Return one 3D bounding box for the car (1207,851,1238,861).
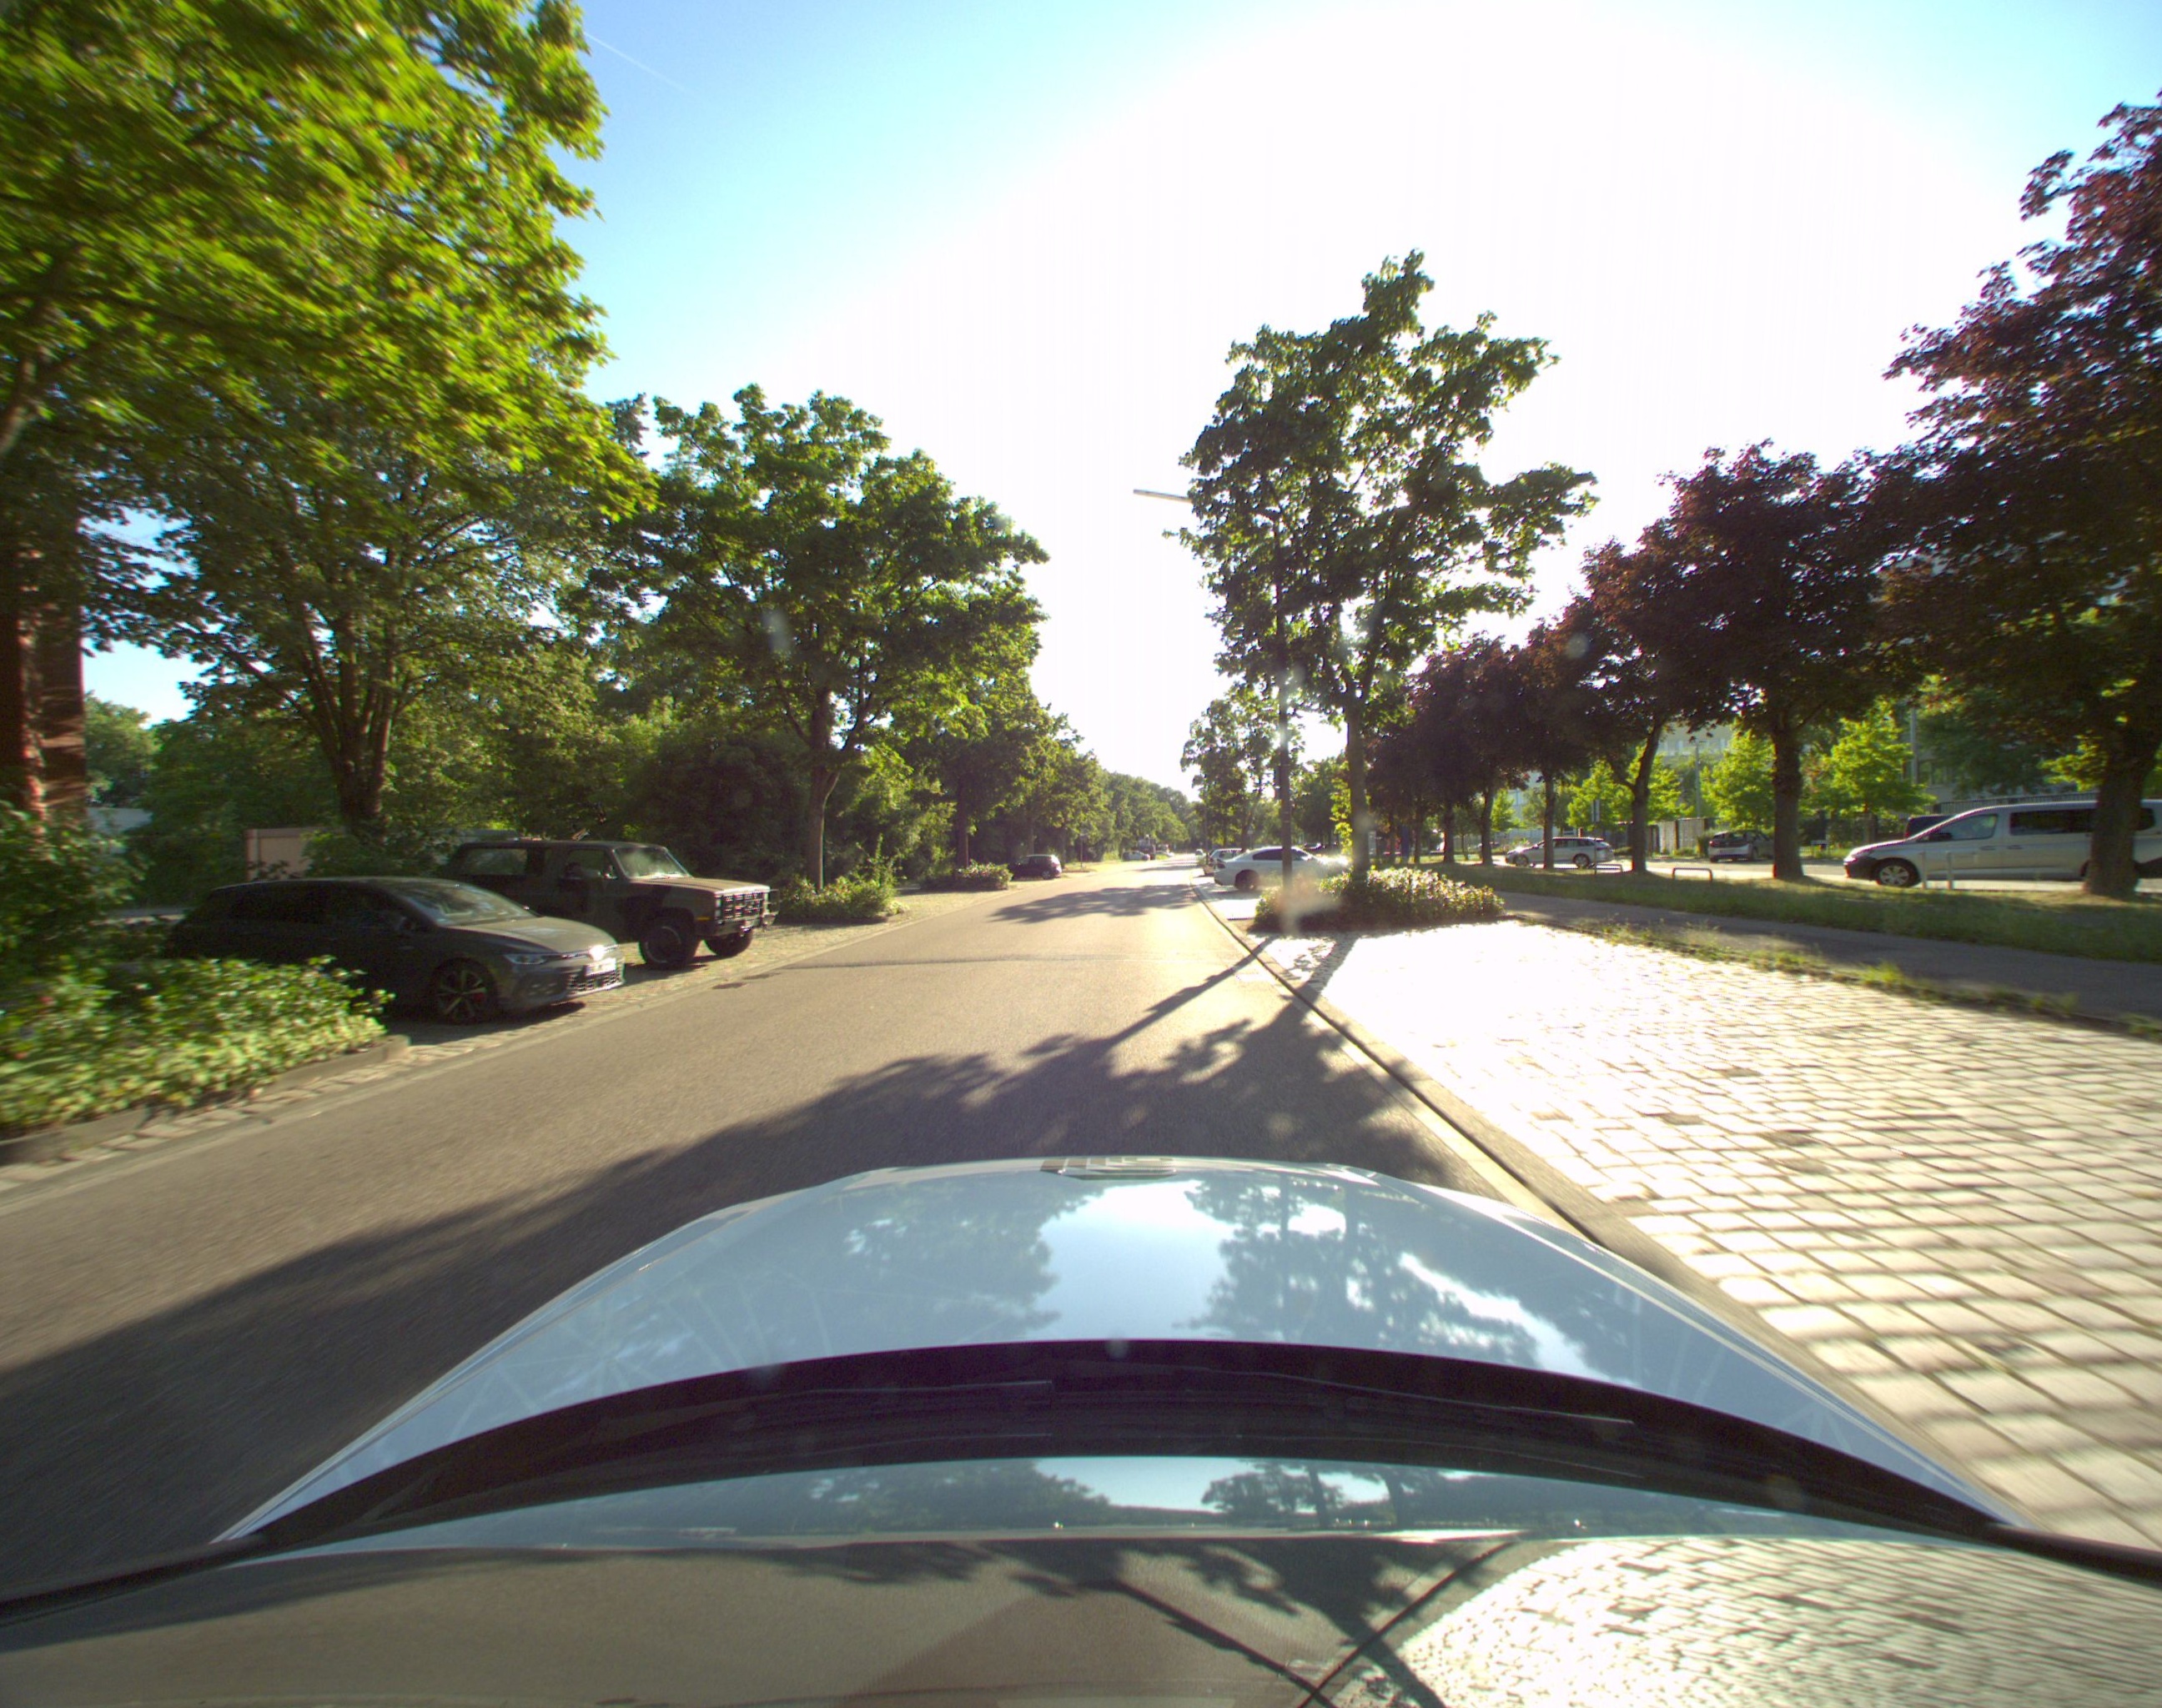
[{"bbox_3d":[22.587,0.364,129.918,4.812,1.479,2.006,-2,0,10],"label":"car"}]

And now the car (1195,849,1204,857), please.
[{"bbox_3d":[29.087,-0.337,199.683,1.983,1.903,4.008,-2,0,7],"label":"car"}]

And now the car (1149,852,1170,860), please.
[{"bbox_3d":[16.859,0.393,174.986,4.341,1.479,2.001,-2,0,2],"label":"car"}]

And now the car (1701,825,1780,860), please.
[{"bbox_3d":[32.212,-0.571,39.766,4.320,1.527,1.749,-2,0,-33],"label":"car"}]

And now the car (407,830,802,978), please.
[{"bbox_3d":[-7.399,0.744,13.070,4.985,2.020,2.176,-2,0,2],"label":"car"}]

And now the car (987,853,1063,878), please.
[{"bbox_3d":[-3.375,0.684,49.814,4.336,1.479,2.004,0,0,6],"label":"car"}]

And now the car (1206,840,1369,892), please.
[{"bbox_3d":[7.046,0.407,28.302,5.153,1.574,2.160,-2,0,3],"label":"car"}]

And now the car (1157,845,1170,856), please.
[{"bbox_3d":[18.682,-0.745,184.193,2.506,2.386,4.376,-2,0,3],"label":"car"}]

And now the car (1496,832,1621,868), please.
[{"bbox_3d":[23.185,-0.184,39.677,2.012,1.574,4.893,-2,0,-44],"label":"car"}]

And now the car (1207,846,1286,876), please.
[{"bbox_3d":[9.851,0.416,48.414,4.325,1.479,2.008,-4,-1,16],"label":"car"}]

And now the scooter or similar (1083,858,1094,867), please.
[{"bbox_3d":[1.004,1.139,108.733,1.593,1.145,0.570,-1,-1,-41],"label":"scooter or similar"}]

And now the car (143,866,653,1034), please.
[{"bbox_3d":[-7.314,0.981,9.018,4.195,1.530,1.706,-2,0,2],"label":"car"}]

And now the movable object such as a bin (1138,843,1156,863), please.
[{"bbox_3d":[11.003,-0.167,135.095,2.825,3.068,4.934,-2,0,5],"label":"movable object such as a bin"}]

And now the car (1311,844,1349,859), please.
[{"bbox_3d":[31.553,-0.328,103.288,4.404,1.706,2.064,-2,0,8],"label":"car"}]

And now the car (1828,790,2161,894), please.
[{"bbox_3d":[19.564,-0.246,17.493,2.009,1.933,4.899,-2,1,-37],"label":"car"}]

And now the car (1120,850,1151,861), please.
[{"bbox_3d":[8.216,0.174,122.641,4.331,1.547,2.006,-2,0,10],"label":"car"}]

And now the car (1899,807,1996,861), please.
[{"bbox_3d":[30.899,-0.732,29.010,4.515,1.750,1.748,-2,0,-36],"label":"car"}]
